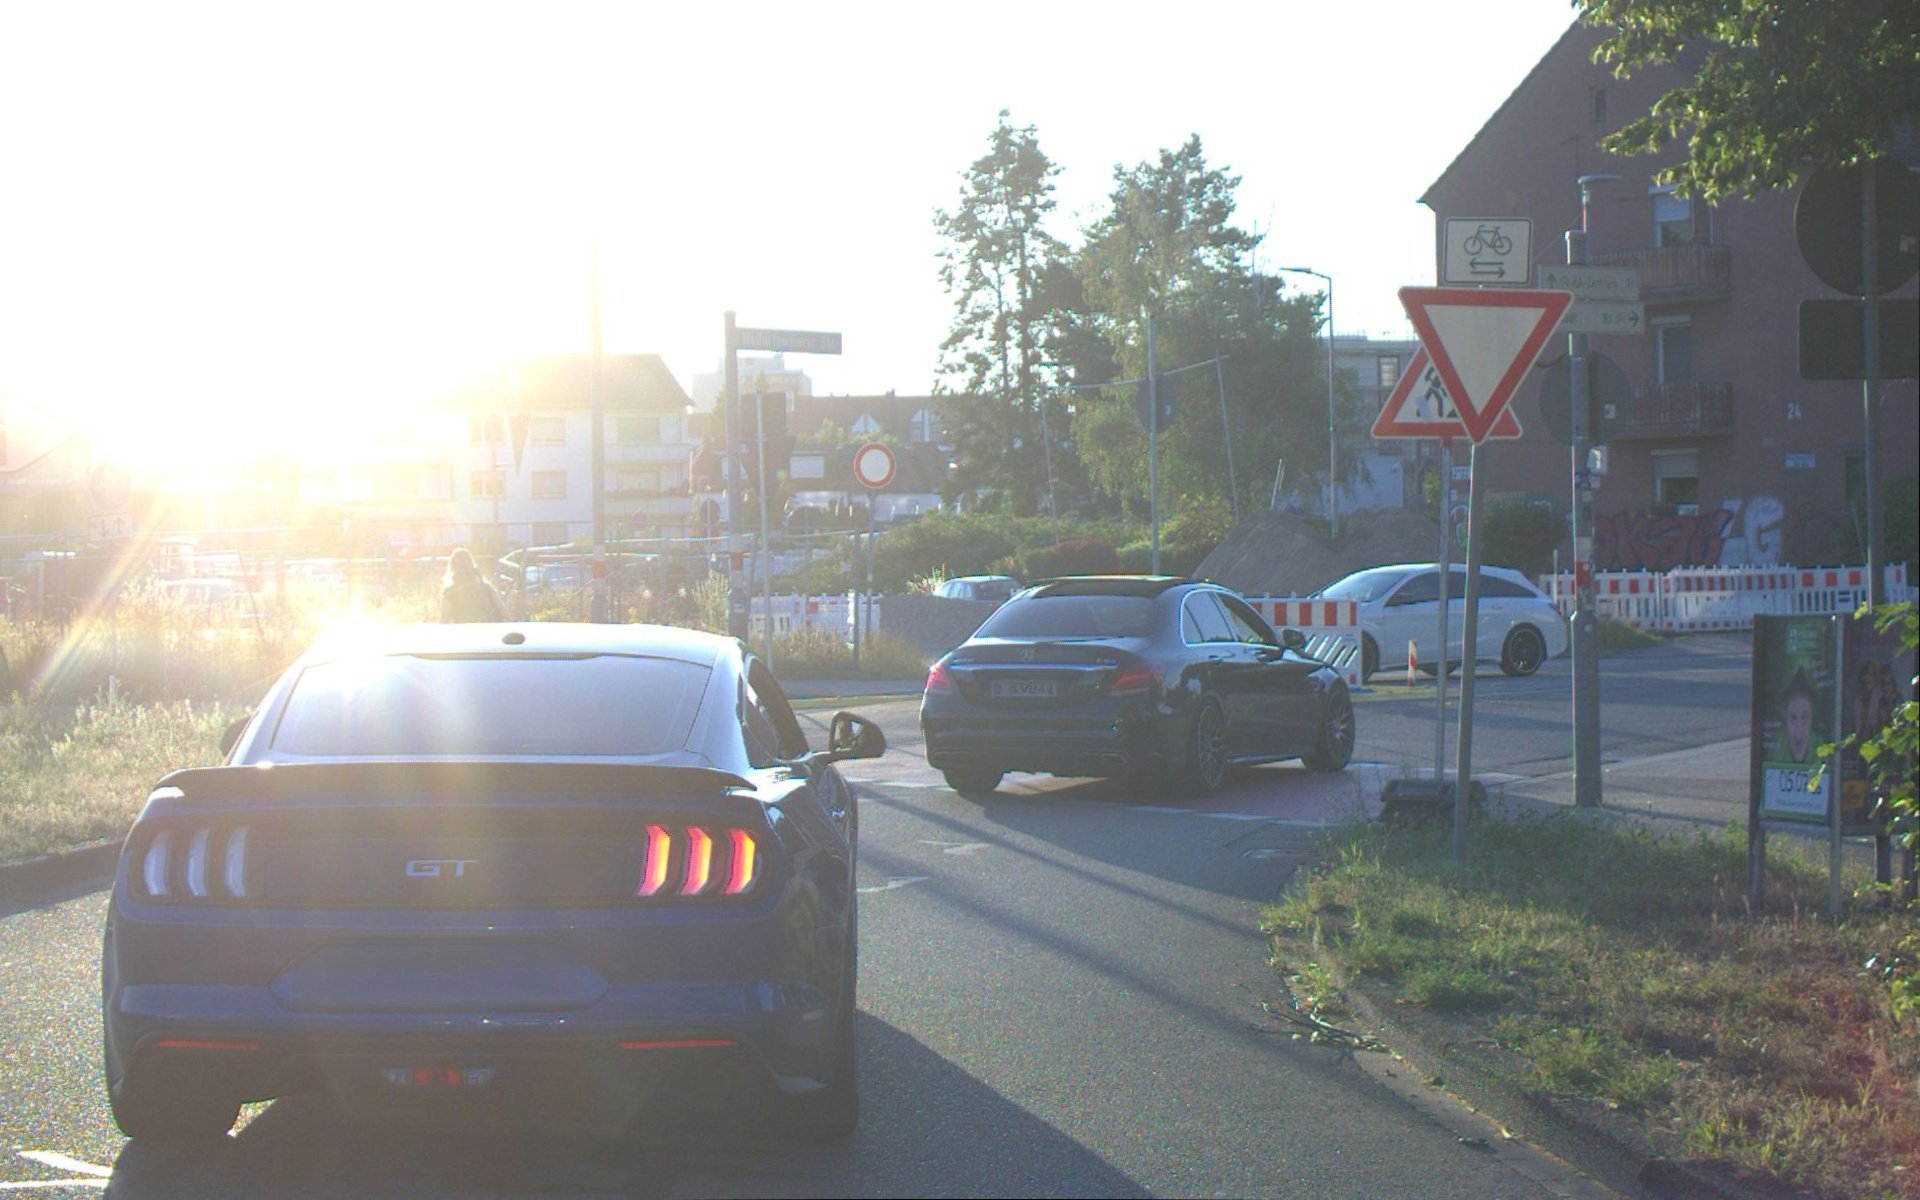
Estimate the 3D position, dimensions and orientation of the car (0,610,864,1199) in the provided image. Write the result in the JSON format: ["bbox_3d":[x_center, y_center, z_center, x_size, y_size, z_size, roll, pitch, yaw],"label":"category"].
[{"bbox_3d":[-1.269,0.741,10.159,1.951,1.337,4.671,0,1,-1],"label":"car"}]

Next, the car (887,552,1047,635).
[{"bbox_3d":[0.116,-0.157,73.373,1.993,1.700,4.001,-1,1,-23],"label":"car"}]

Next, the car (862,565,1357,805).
[{"bbox_3d":[1.144,0.509,23.581,1.953,1.422,4.424,0,1,23],"label":"car"}]

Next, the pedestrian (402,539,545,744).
[{"bbox_3d":[-4.105,0.335,28.995,0.844,1.680,0.887,-2,1,-38],"label":"pedestrian"}]

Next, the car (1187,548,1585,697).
[{"bbox_3d":[5.321,0.234,42.751,4.642,1.448,2.075,-4,4,-33],"label":"car"}]
